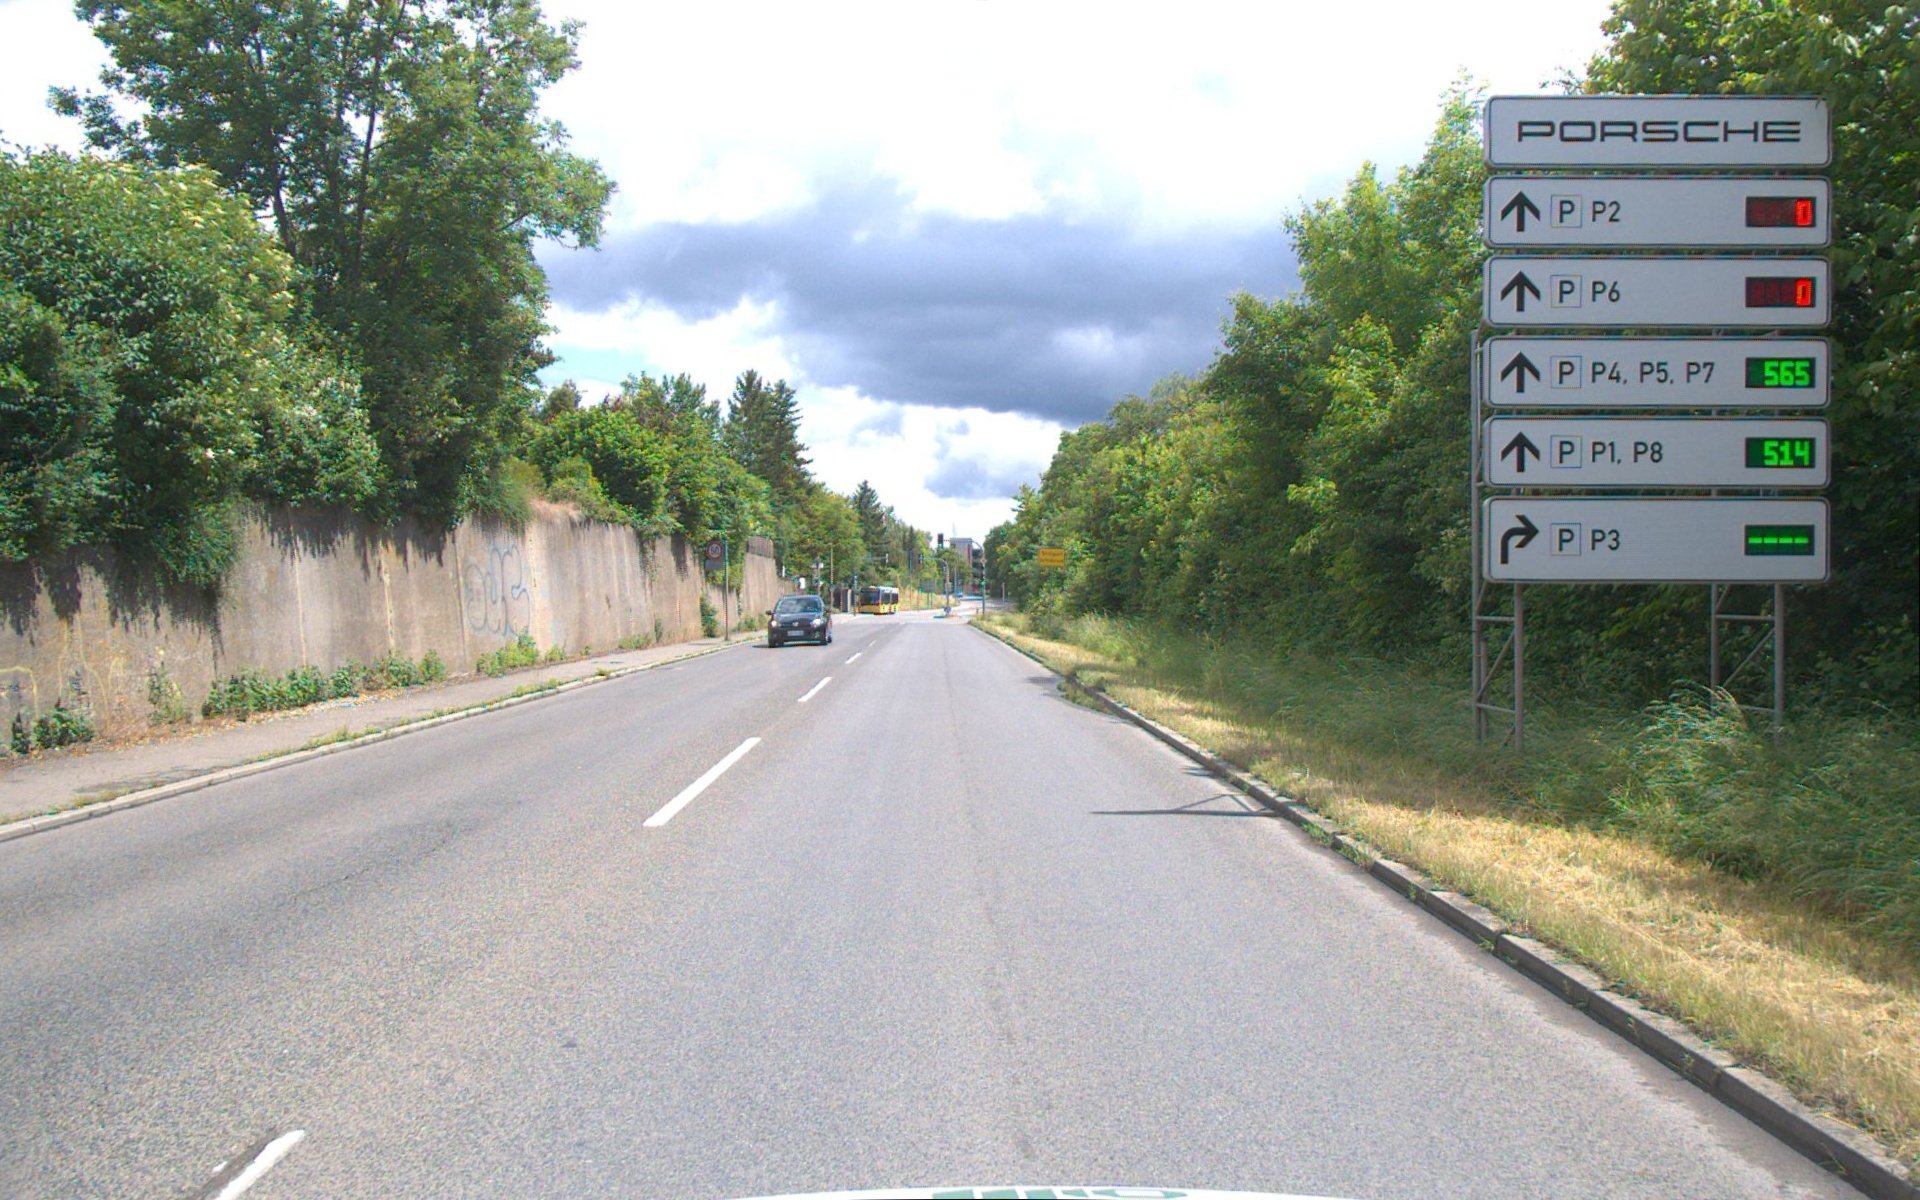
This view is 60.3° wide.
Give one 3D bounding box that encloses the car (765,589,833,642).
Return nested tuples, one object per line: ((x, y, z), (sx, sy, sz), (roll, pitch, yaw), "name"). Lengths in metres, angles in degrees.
((-4.764, 0.421, 49.398), (1.716, 1.489, 3.999), (-1, 0, -2), "car")

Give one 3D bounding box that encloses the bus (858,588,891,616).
((-9.486, 0.188, 183.712), (2.834, 2.949, 7.670), (2, 1, 2), "bus")

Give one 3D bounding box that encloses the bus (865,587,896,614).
((-9.159, 0.029, 191.412), (2.834, 2.949, 7.670), (2, 1, 2), "bus")
